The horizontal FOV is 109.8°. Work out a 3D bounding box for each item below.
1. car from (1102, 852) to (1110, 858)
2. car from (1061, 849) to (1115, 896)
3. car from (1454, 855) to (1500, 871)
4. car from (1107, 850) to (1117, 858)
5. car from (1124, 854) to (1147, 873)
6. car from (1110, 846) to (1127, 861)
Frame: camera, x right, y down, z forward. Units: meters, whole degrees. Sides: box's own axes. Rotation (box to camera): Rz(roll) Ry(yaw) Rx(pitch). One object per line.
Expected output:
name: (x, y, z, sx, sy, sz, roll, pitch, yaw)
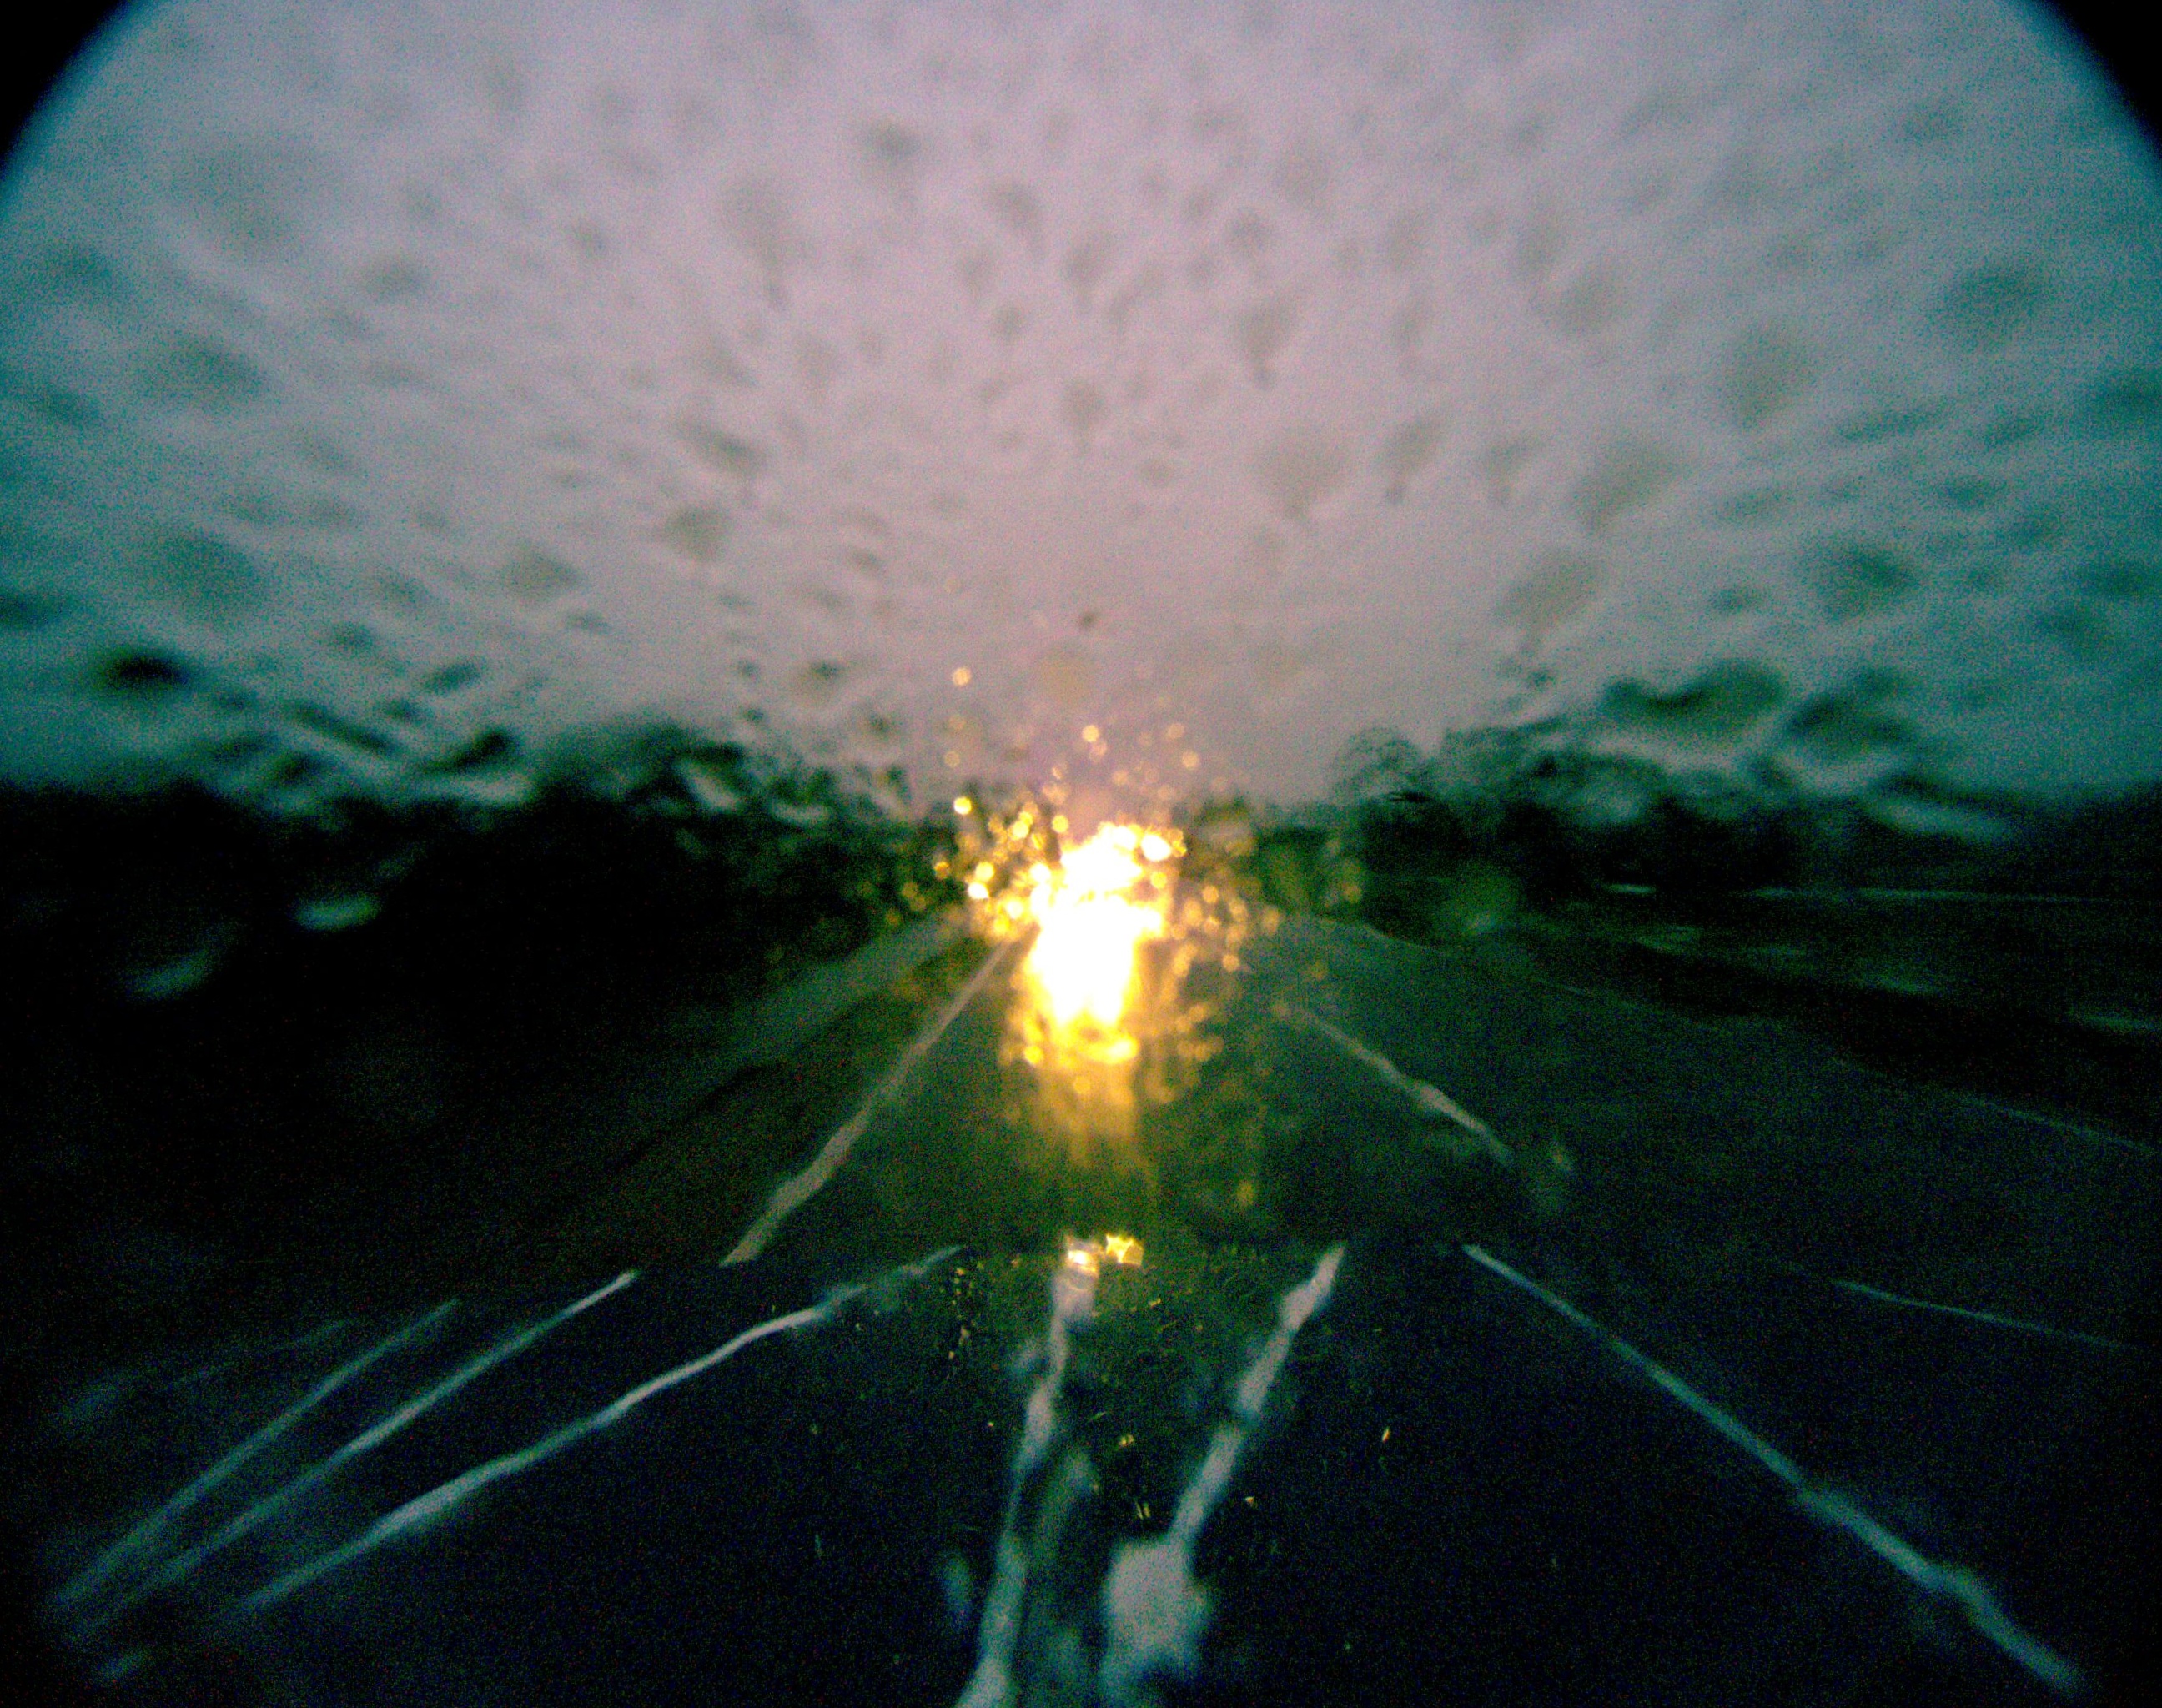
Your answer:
car: (6.289, 0.248, 192.807, 1.860, 1.508, 4.515, 1, 0, -2)
car: (0.273, 0.650, 28.838, 1.860, 1.604, 4.000, -1, 0, 1)
car: (36.021, 0.784, 69.106, 3.453, 1.334, 1.597, -2, 1, -13)
car: (5.972, -0.069, 148.256, 1.766, 1.546, 4.000, 0, 0, 1)
car: (4.333, 0.765, 61.118, 1.692, 1.471, 3.773, 0, 0, 1)
car: (4.605, -0.094, 93.060, 1.829, 1.796, 4.493, 1, 0, 0)
